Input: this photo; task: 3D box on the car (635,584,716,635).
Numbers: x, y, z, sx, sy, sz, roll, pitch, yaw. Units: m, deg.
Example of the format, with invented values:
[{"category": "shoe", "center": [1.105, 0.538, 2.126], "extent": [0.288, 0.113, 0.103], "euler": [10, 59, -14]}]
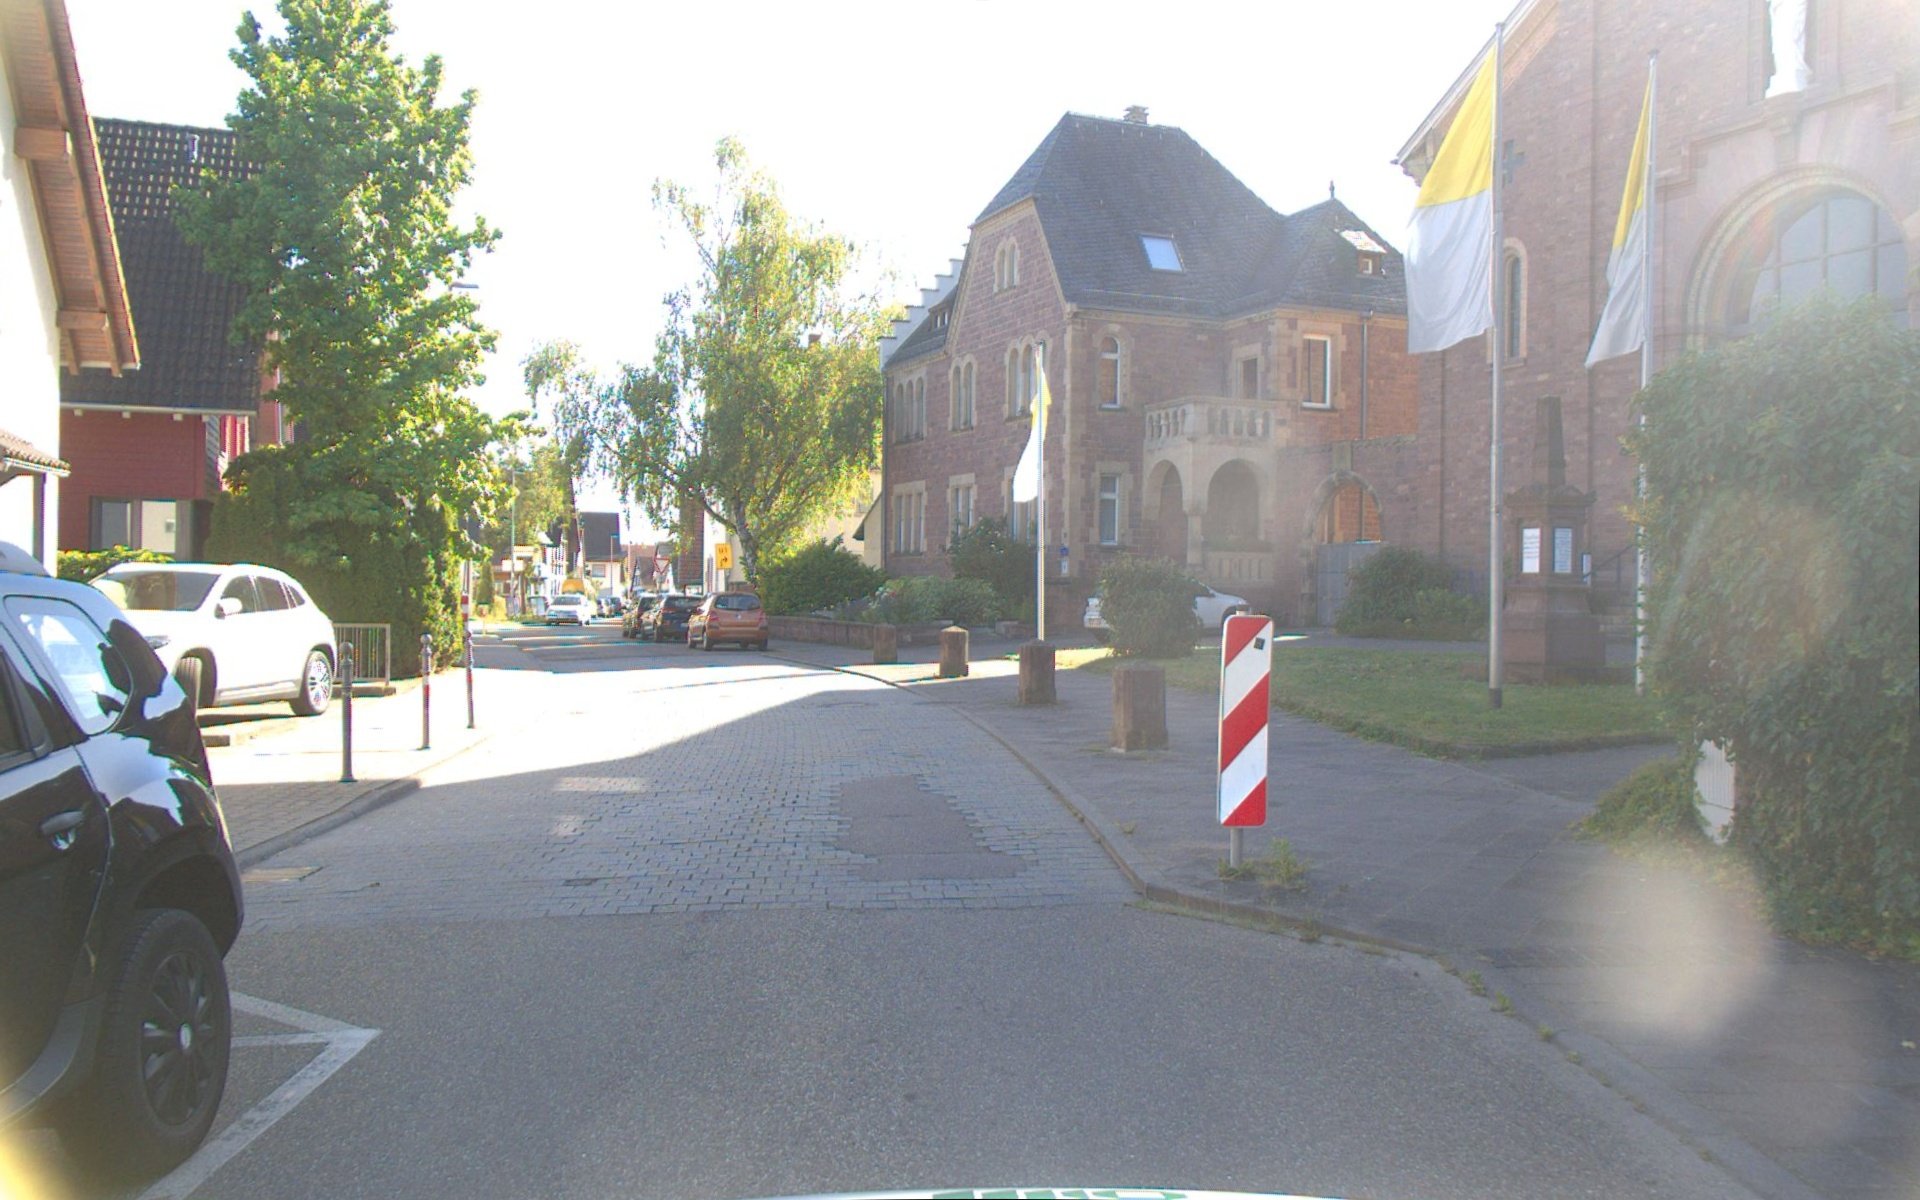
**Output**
[{"category": "car", "center": [-8.800, 0.245, 50.908], "extent": [1.780, 1.461, 4.261], "euler": [0, 1, -20]}]

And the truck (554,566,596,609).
[{"category": "truck", "center": [-26.696, -0.818, 114.891], "extent": [2.225, 2.918, 5.773], "euler": [0, 0, -7]}]

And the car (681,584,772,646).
[{"category": "car", "center": [-6.109, 0.348, 42.937], "extent": [1.624, 1.504, 3.911], "euler": [0, 1, -20]}]

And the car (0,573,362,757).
[{"category": "car", "center": [-7.904, 0.546, 16.969], "extent": [1.779, 1.623, 4.447], "euler": [1, 1, 2]}]

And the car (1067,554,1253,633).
[{"category": "car", "center": [4.650, -0.150, 38.447], "extent": [3.850, 1.522, 1.889], "euler": [-5, 1, -26]}]

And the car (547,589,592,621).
[{"category": "car", "center": [-18.426, 0.214, 78.191], "extent": [1.639, 1.427, 3.885], "euler": [-1, 1, -8]}]

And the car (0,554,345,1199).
[{"category": "car", "center": [-2.813, 0.811, 2.981], "extent": [1.795, 1.700, 4.351], "euler": [-3, 0, -2]}]

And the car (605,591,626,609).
[{"category": "car", "center": [-28.504, -0.038, 136.968], "extent": [1.559, 1.468, 3.606], "euler": [0, 0, -10]}]

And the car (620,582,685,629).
[{"category": "car", "center": [-10.333, 0.147, 55.357], "extent": [1.778, 1.461, 4.267], "euler": [0, 1, -16]}]

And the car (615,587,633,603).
[{"category": "car", "center": [-30.204, -0.456, 148.742], "extent": [1.559, 1.468, 3.606], "euler": [0, 0, -10]}]
